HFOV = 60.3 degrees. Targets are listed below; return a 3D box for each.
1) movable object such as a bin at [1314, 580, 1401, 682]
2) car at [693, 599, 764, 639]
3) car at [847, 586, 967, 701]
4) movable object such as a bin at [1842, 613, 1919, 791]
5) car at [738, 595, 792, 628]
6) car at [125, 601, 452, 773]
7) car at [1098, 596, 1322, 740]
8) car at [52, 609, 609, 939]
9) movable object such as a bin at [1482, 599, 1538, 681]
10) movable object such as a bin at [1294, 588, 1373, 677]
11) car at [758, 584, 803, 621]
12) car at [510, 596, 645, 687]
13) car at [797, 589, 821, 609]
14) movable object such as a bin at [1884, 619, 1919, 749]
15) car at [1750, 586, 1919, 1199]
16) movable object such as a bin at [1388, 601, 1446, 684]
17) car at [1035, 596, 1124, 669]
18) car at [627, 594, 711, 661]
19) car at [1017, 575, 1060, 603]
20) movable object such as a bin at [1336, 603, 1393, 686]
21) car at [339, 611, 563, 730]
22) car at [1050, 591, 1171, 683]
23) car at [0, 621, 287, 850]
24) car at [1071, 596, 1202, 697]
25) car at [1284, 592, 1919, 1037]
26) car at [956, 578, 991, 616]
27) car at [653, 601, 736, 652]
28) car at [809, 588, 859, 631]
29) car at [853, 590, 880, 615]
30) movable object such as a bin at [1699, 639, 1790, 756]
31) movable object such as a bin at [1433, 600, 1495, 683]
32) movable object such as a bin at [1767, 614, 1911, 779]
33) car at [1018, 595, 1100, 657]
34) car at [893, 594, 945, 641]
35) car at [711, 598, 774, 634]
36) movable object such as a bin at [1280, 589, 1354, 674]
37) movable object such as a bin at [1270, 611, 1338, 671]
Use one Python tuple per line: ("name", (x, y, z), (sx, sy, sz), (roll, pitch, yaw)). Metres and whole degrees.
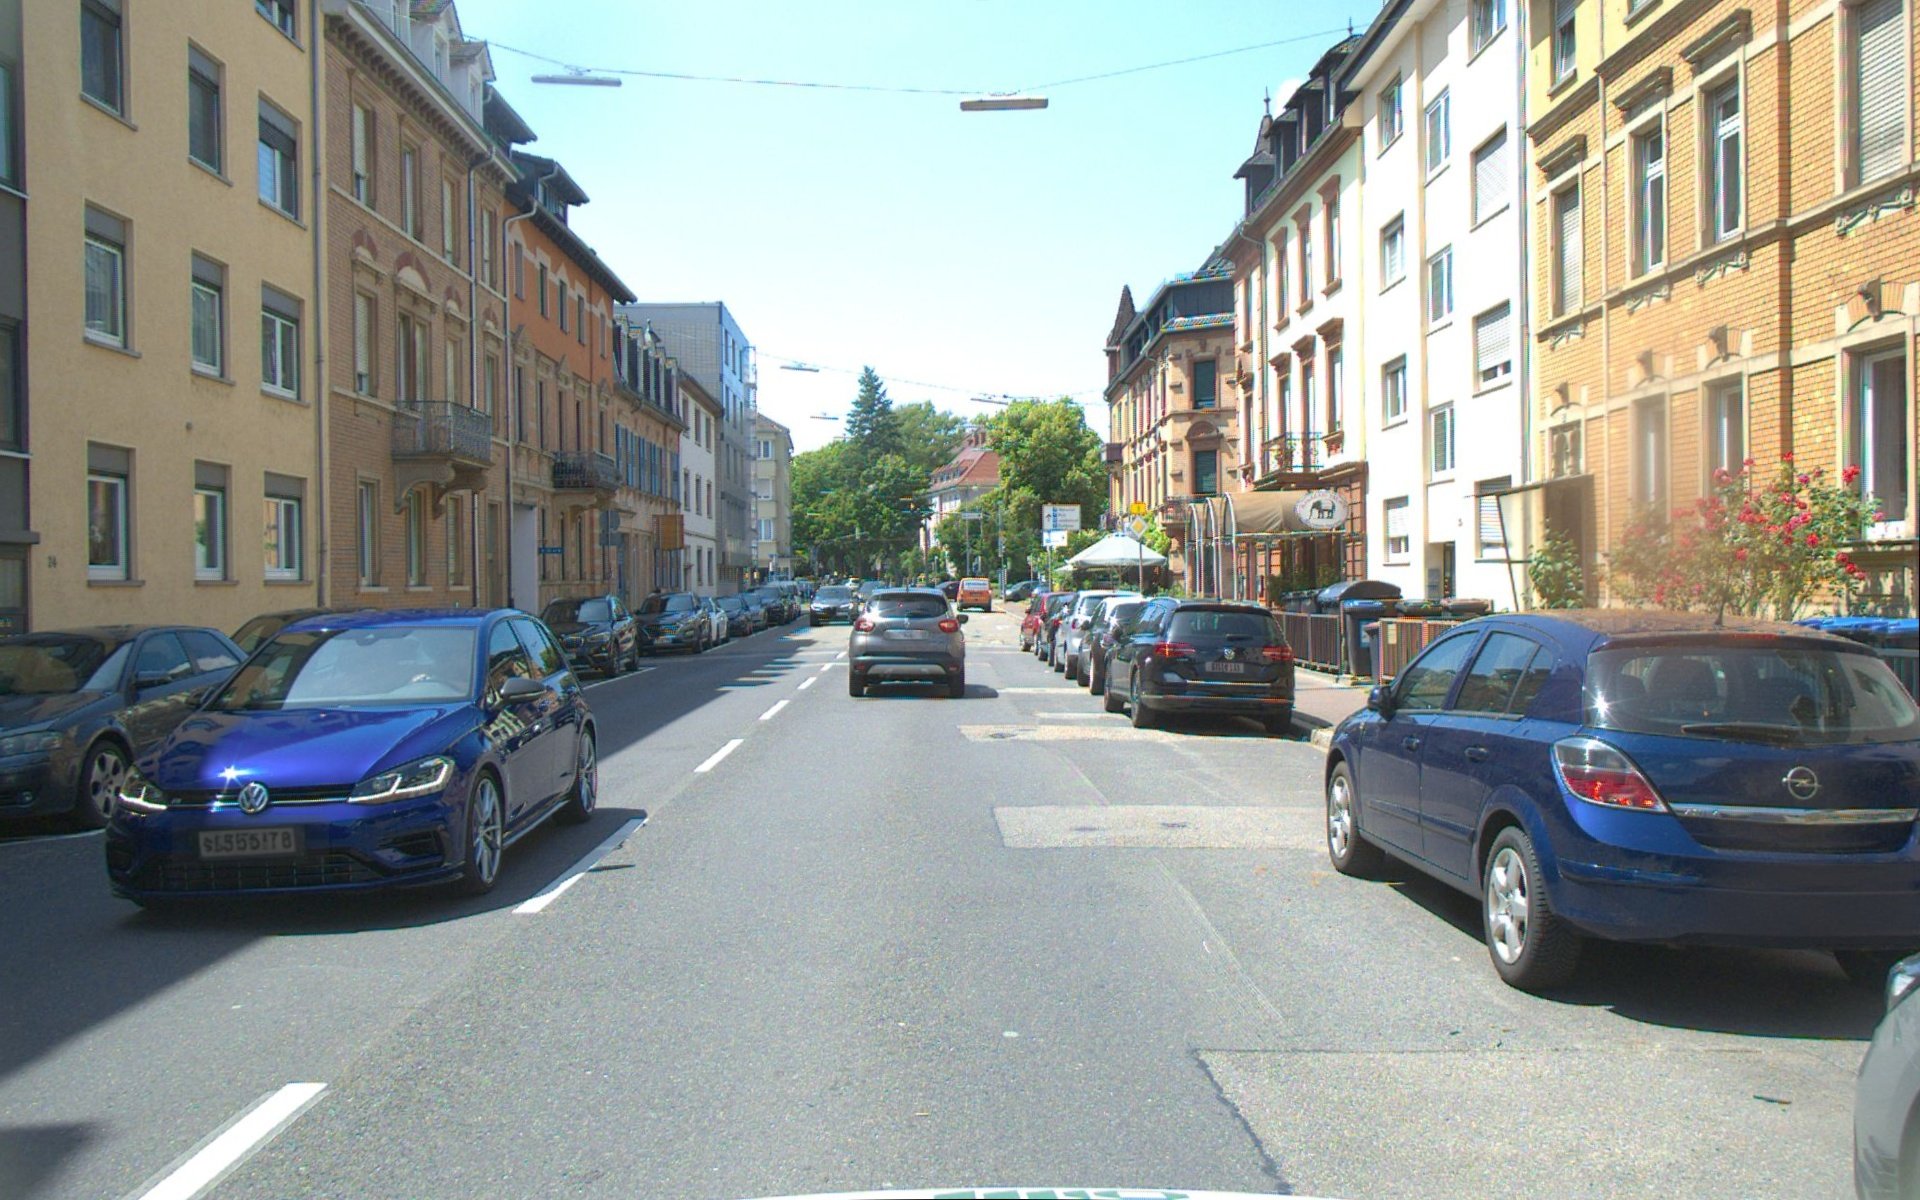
("movable object such as a bin", (6.219, 0.473, 25.930), (1.021, 1.544, 1.446), (0, 0, 0))
("car", (-8.204, 0.657, 59.045), (1.865, 1.314, 4.302), (-1, 0, 1))
("car", (-0.827, 0.611, 25.657), (1.709, 1.644, 3.998), (0, 0, -2))
("movable object such as a bin", (6.228, 0.642, 10.727), (0.639, 1.102, 0.684), (-1, 0, 1))
("car", (-8.368, 0.481, 71.338), (1.866, 1.314, 4.302), (-1, 0, -1))
("car", (-7.101, 0.837, 18.014), (1.866, 1.536, 4.300), (-3, 0, -2))
("car", (2.865, 0.720, 19.964), (1.823, 1.490, 4.616), (1, 0, -2))
("car", (-3.267, 0.792, 9.488), (1.779, 1.413, 3.998), (-1, 0, -3))
("movable object such as a bin", (8.176, 0.583, 24.616), (0.625, 1.197, 0.626), (0, 0, 1))
("movable object such as a bin", (6.146, 0.528, 27.300), (1.021, 1.426, 1.254), (0, 0, 0))
("car", (-9.230, 0.122, 85.316), (1.866, 1.853, 4.302), (-1, 0, -1))
("car", (-7.709, 0.787, 33.732), (1.867, 1.648, 4.300), (-3, 0, -3))
("car", (-13.336, -0.104, 146.188), (1.754, 1.654, 3.743), (-1, 0, 0))
("movable object such as a bin", (8.213, 0.697, 13.851), (0.548, 1.068, 0.667), (-1, 0, -3))
("car", (2.926, 0.754, 1.832), (1.823, 1.513, 4.306), (1, 0, -4))
("movable object such as a bin", (6.791, 0.619, 24.592), (0.625, 1.207, 0.852), (0, 0, 1))
("car", (2.526, 0.653, 35.587), (1.579, 1.487, 3.504), (0, 0, -1))
("car", (-7.901, 0.712, 45.259), (1.868, 1.648, 4.297), (-3, 0, -6))
("car", (4.579, -0.669, 95.976), (1.857, 1.534, 3.946), (-2, 0, 12))
("movable object such as a bin", (5.996, 0.653, 24.522), (0.625, 1.197, 0.911), (0, 0, 1))
("car", (-7.285, 0.942, 24.207), (1.866, 1.425, 4.753), (-3, 0, -2))
("car", (2.750, 0.632, 30.962), (1.822, 1.580, 3.999), (1, 0, -1))
("car", (-6.931, 0.943, 12.711), (1.866, 1.403, 4.060), (-3, 0, -1))
("car", (2.777, 0.692, 26.736), (1.626, 1.466, 3.999), (1, 0, -1))
("car", (2.940, 0.734, 7.999), (1.661, 1.513, 4.616), (1, 0, -2))
("car", (0.770, -0.189, 94.842), (1.953, 2.049, 4.466), (-2, 0, 0))
("car", (-8.104, 0.779, 50.847), (1.866, 1.381, 4.301), (-3, 0, -1))
("car", (-5.257, 0.381, 69.294), (1.900, 1.654, 3.998), (-2, 0, -3))
("car", (-6.359, 0.141, 111.899), (1.755, 1.654, 3.739), (-1, 0, -5))
("movable object such as a bin", (6.562, 0.808, 13.855), (0.458, 0.928, 0.564), (-2, 0, -3))
("movable object such as a bin", (7.490, 0.606, 24.604), (0.654, 1.197, 0.852), (0, 0, 1))
("movable object such as a bin", (6.159, 0.664, 11.617), (0.639, 1.102, 0.684), (-1, 0, 1))
("car", (2.435, 0.618, 41.294), (1.580, 1.468, 3.434), (0, 0, -5))
("car", (-1.598, 0.633, 62.931), (1.776, 1.649, 4.438), (-2, 0, -4))
("car", (-8.433, 0.609, 64.448), (1.866, 1.314, 4.302), (-1, 0, 0))
("movable object such as a bin", (6.152, 0.533, 28.557), (1.021, 1.426, 1.254), (0, 0, 0))
("movable object such as a bin", (6.162, 0.731, 29.692), (1.021, 1.040, 0.991), (0, 0, 0))
